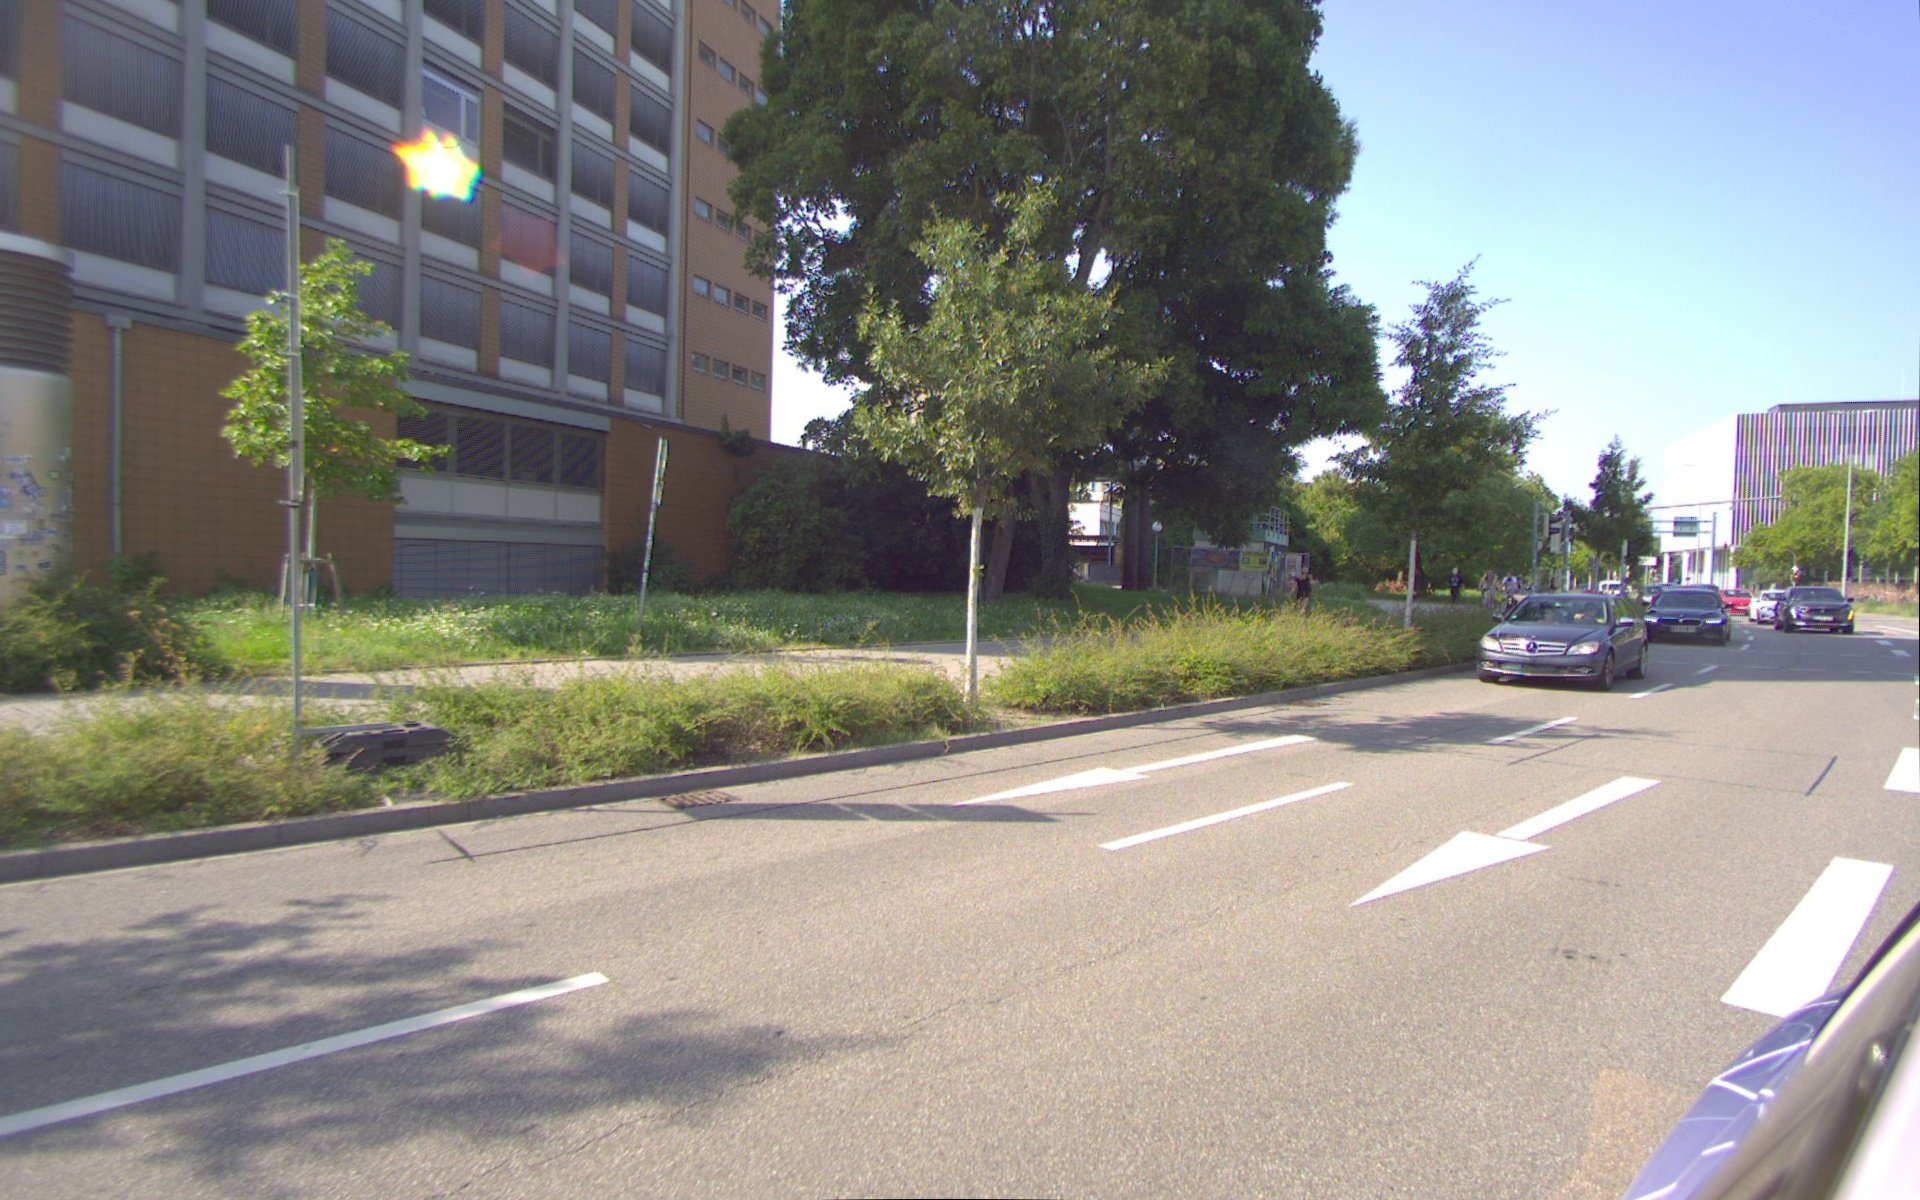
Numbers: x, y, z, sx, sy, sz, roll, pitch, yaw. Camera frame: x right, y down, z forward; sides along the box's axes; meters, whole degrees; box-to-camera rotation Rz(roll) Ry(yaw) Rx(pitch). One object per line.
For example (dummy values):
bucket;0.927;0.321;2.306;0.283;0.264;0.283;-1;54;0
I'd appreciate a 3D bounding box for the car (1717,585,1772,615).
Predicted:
car;42.353;-0.044;54.725;1.674;1.510;4.327;3;2;29

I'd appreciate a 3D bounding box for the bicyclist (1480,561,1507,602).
bicyclist;21.226;-0.734;40.265;0.770;1.612;0.910;2;2;41

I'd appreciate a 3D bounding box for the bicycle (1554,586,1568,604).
bicycle;39.436;-0.307;66.384;0.767;1.131;2.278;2;2;31

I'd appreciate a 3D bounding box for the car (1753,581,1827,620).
car;35.769;-0.031;43.735;1.770;1.501;4.484;2;2;31

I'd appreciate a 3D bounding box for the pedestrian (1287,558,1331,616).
pedestrian;9.144;-0.348;26.491;0.842;1.461;0.726;0;2;-40

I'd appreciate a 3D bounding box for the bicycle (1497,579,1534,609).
bicycle;21.709;-0.246;39.537;0.770;1.131;2.269;3;2;41

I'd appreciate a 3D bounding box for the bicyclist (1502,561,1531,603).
bicyclist;21.787;-0.708;39.596;0.770;1.612;0.910;3;2;41

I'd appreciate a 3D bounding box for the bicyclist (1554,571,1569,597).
bicyclist;39.458;-1.065;66.380;0.767;1.697;0.914;2;1;32

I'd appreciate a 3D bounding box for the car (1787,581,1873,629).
car;30.141;0.129;35.171;1.676;1.510;4.320;3;2;33

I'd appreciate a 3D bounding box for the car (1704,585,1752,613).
car;48.944;-0.057;64.561;1.768;1.714;4.485;-1;-1;29

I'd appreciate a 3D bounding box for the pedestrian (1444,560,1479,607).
pedestrian;20.131;-0.683;40.602;0.956;1.804;0.989;5;3;39

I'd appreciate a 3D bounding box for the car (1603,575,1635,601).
car;53.764;-0.995;82.590;1.672;1.965;4.331;2;2;27

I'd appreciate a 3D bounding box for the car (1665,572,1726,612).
car;33.203;-0.413;45.786;1.770;1.625;4.374;3;3;31

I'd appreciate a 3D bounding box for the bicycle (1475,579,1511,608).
bicycle;21.242;-0.269;40.313;0.770;1.131;2.270;2;2;40

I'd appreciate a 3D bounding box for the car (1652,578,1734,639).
car;20.294;0.174;27.946;1.679;1.510;4.610;3;2;37

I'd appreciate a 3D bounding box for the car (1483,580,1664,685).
car;9.966;0.422;16.299;1.682;1.460;4.305;2;2;42
